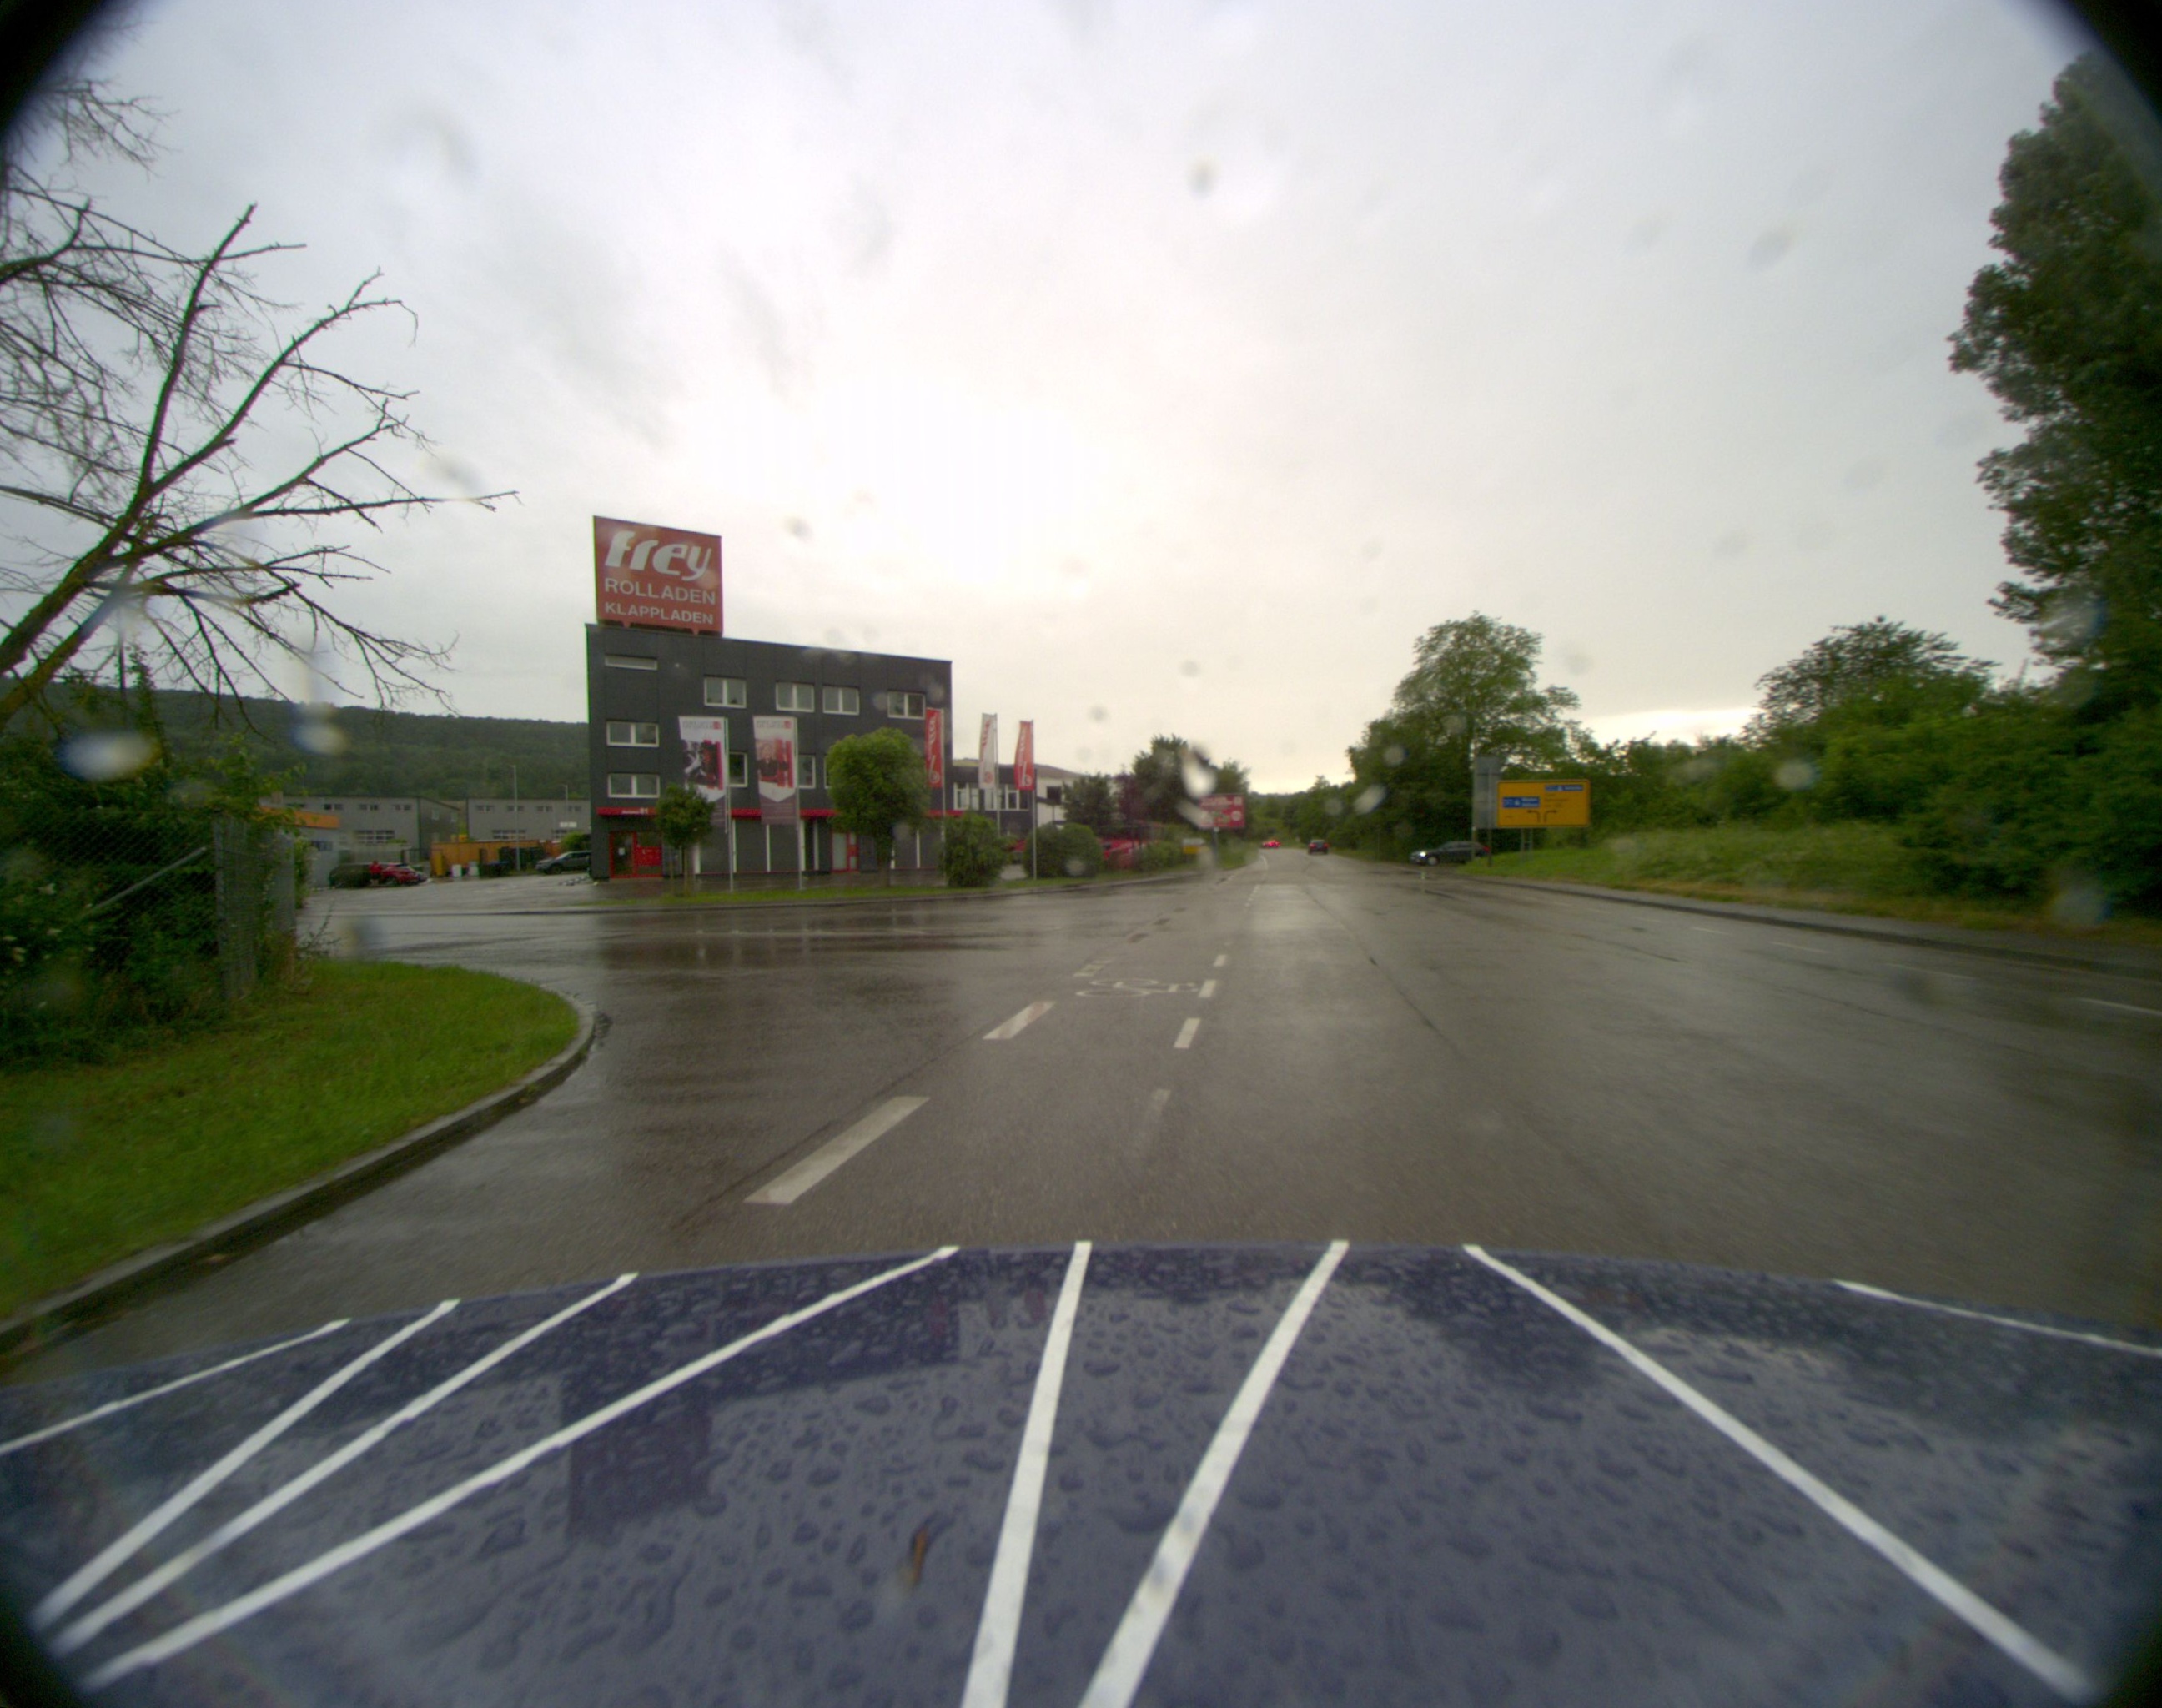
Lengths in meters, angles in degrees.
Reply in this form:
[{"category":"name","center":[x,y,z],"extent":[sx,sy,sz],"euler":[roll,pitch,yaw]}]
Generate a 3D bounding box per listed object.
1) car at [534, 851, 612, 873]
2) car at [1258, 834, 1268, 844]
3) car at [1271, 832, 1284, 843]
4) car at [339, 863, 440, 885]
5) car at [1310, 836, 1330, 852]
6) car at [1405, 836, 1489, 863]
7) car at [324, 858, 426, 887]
[{"category":"car","center":[-36.004,0.527,53.926],"extent":[1.994,1.379,4.205],"euler":[-1,1,41]},{"category":"car","center":[38.385,-3.101,160.417],"extent":[1.807,2.002,4.002],"euler":[-1,2,10]},{"category":"car","center":[37.021,-3.169,143.342],"extent":[1.997,2.002,4.002],"euler":[-1,2,10]},{"category":"car","center":[-43.328,1.247,47.703],"extent":[4.199,1.154,1.929],"euler":[-2,1,-17]},{"category":"car","center":[24.248,-1.006,77.256],"extent":[1.832,1.515,4.004],"euler":[-1,1,16]},{"category":"car","center":[21.739,-0.272,45.245],"extent":[4.114,1.481,1.858],"euler":[-1,0,10]},{"category":"car","center":[-42.081,1.069,45.410],"extent":[4.000,1.566,1.922],"euler":[-2,1,-10]}]
